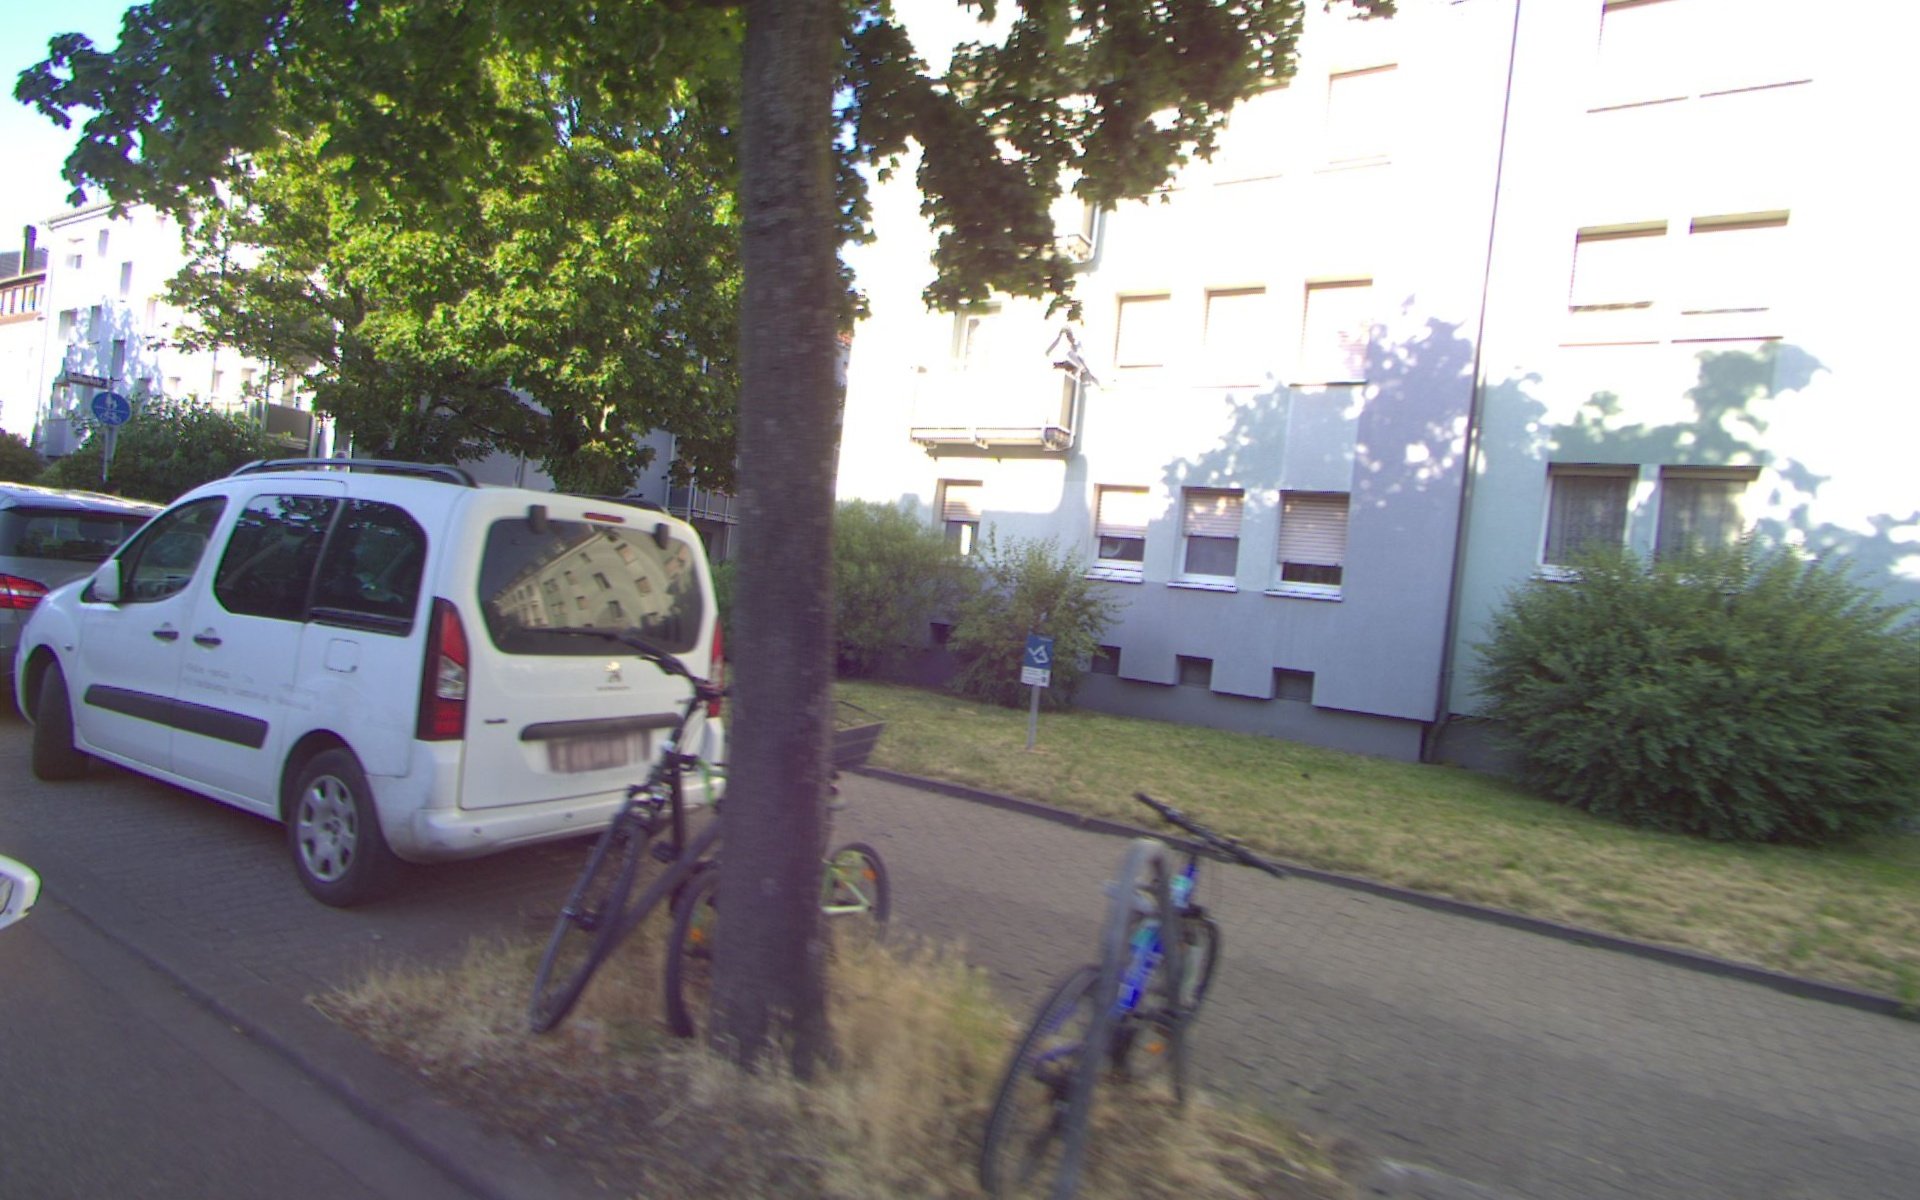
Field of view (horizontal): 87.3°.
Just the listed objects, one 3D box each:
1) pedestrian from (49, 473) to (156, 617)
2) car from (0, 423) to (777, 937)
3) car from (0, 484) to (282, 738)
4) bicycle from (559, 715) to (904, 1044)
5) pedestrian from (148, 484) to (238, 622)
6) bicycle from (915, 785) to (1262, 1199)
[{"bbox_3d":[-12.042,-0.770,14.133,1.050,1.885,0.749,7,1,31],"label":"pedestrian"},{"bbox_3d":[-3.363,0.178,5.510,4.349,1.829,1.804,7,-1,30],"label":"car"},{"bbox_3d":[-7.401,-0.104,7.868,4.180,1.577,1.756,7,2,30],"label":"car"},{"bbox_3d":[-0.774,0.952,3.890,0.386,0.880,1.556,7,0,23],"label":"bicycle"},{"bbox_3d":[-11.193,-0.683,14.679,0.938,1.885,0.797,7,2,43],"label":"pedestrian"},{"bbox_3d":[0.471,1.090,2.932,0.386,0.880,1.555,7,0,29],"label":"bicycle"}]
